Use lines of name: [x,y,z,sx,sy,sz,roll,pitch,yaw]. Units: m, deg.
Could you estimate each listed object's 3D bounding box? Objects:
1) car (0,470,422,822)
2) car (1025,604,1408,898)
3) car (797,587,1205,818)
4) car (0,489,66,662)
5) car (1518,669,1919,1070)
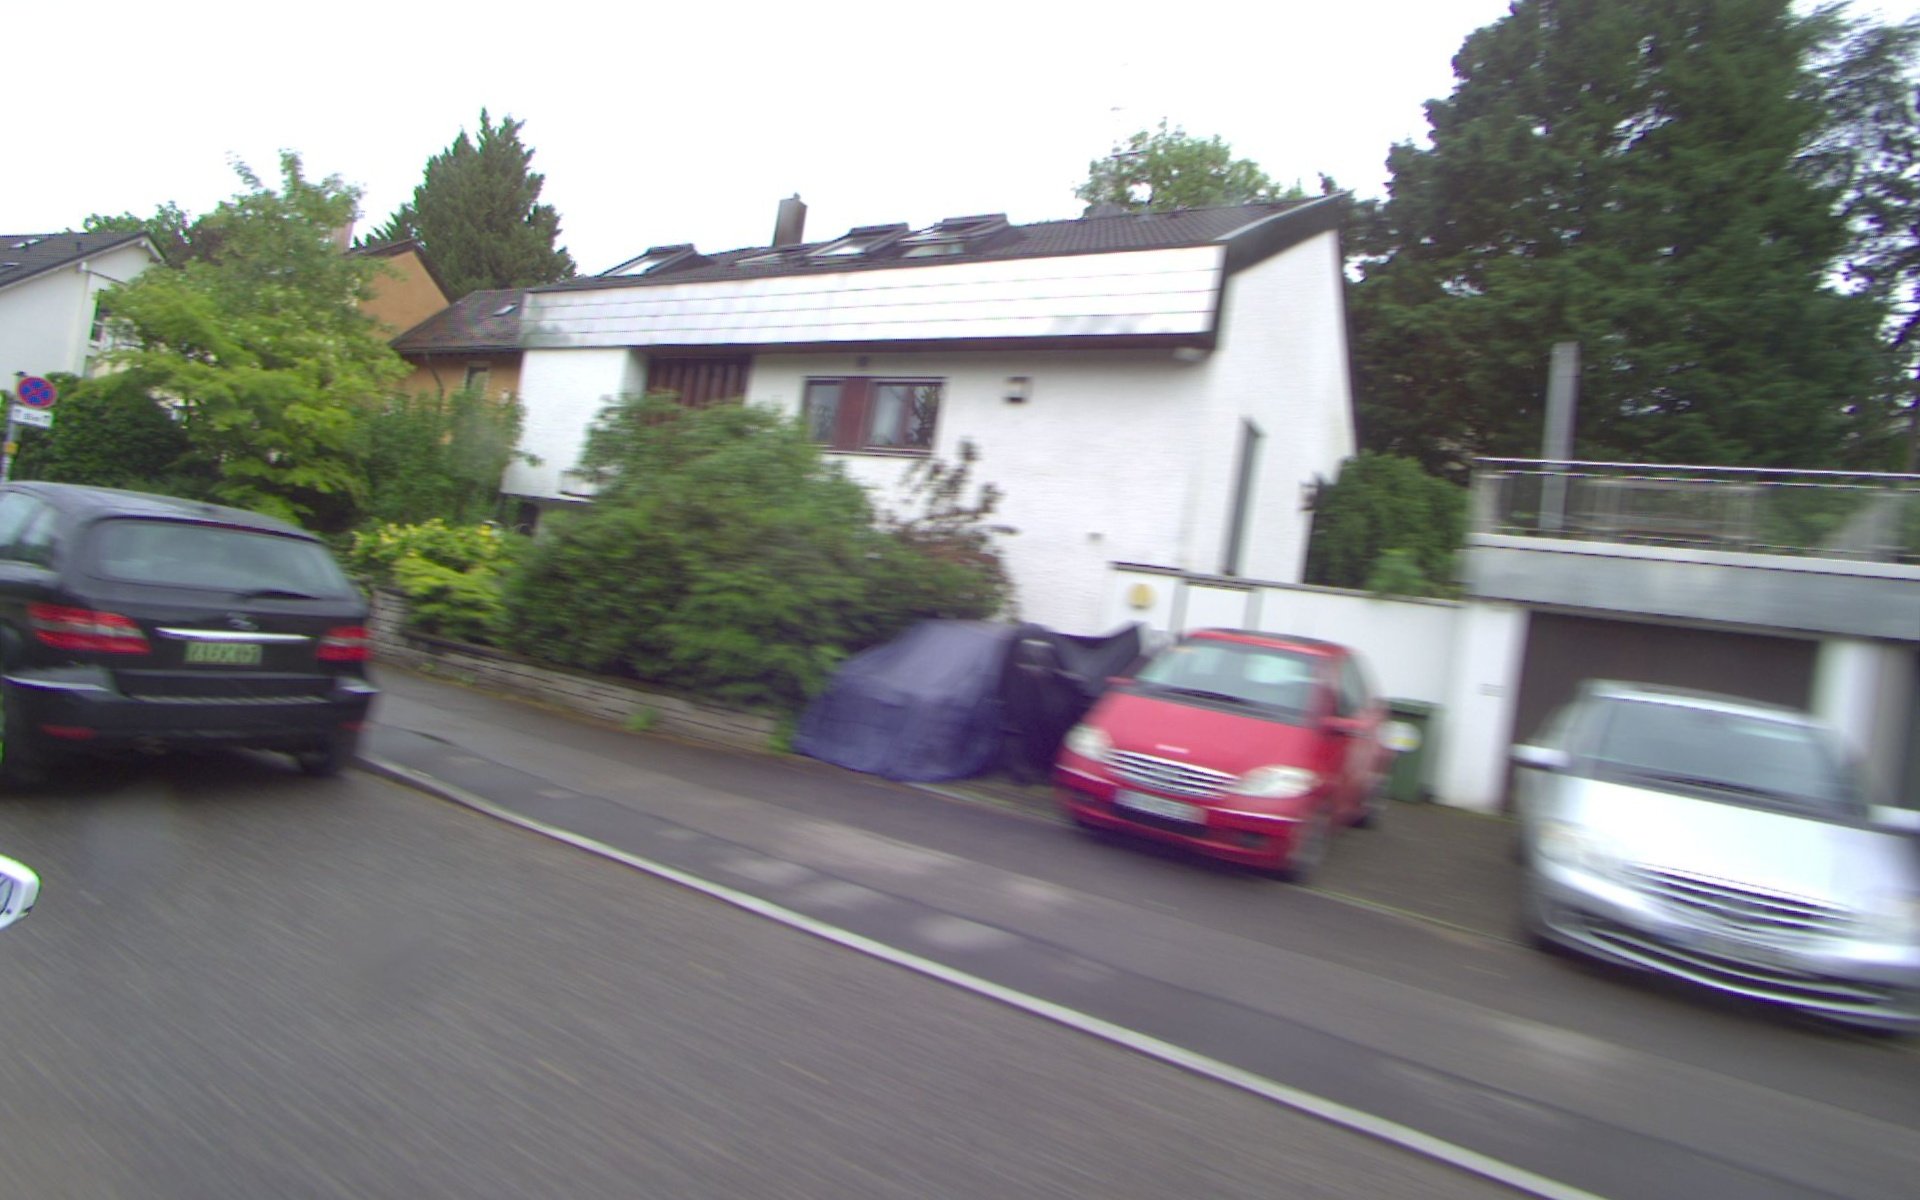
car: [-5.658,0.066,6.506,4.447,1.586,1.733,7,-1,32]
car: [2.256,1.037,8.043,1.851,1.585,3.663,7,-1,31]
car: [0.654,0.926,9.322,1.851,1.477,4.254,6,-3,31]
car: [-10.642,-0.462,9.622,4.421,1.503,1.797,6,-2,31]
car: [4.735,1.372,6.479,1.797,1.556,3.662,7,1,29]
